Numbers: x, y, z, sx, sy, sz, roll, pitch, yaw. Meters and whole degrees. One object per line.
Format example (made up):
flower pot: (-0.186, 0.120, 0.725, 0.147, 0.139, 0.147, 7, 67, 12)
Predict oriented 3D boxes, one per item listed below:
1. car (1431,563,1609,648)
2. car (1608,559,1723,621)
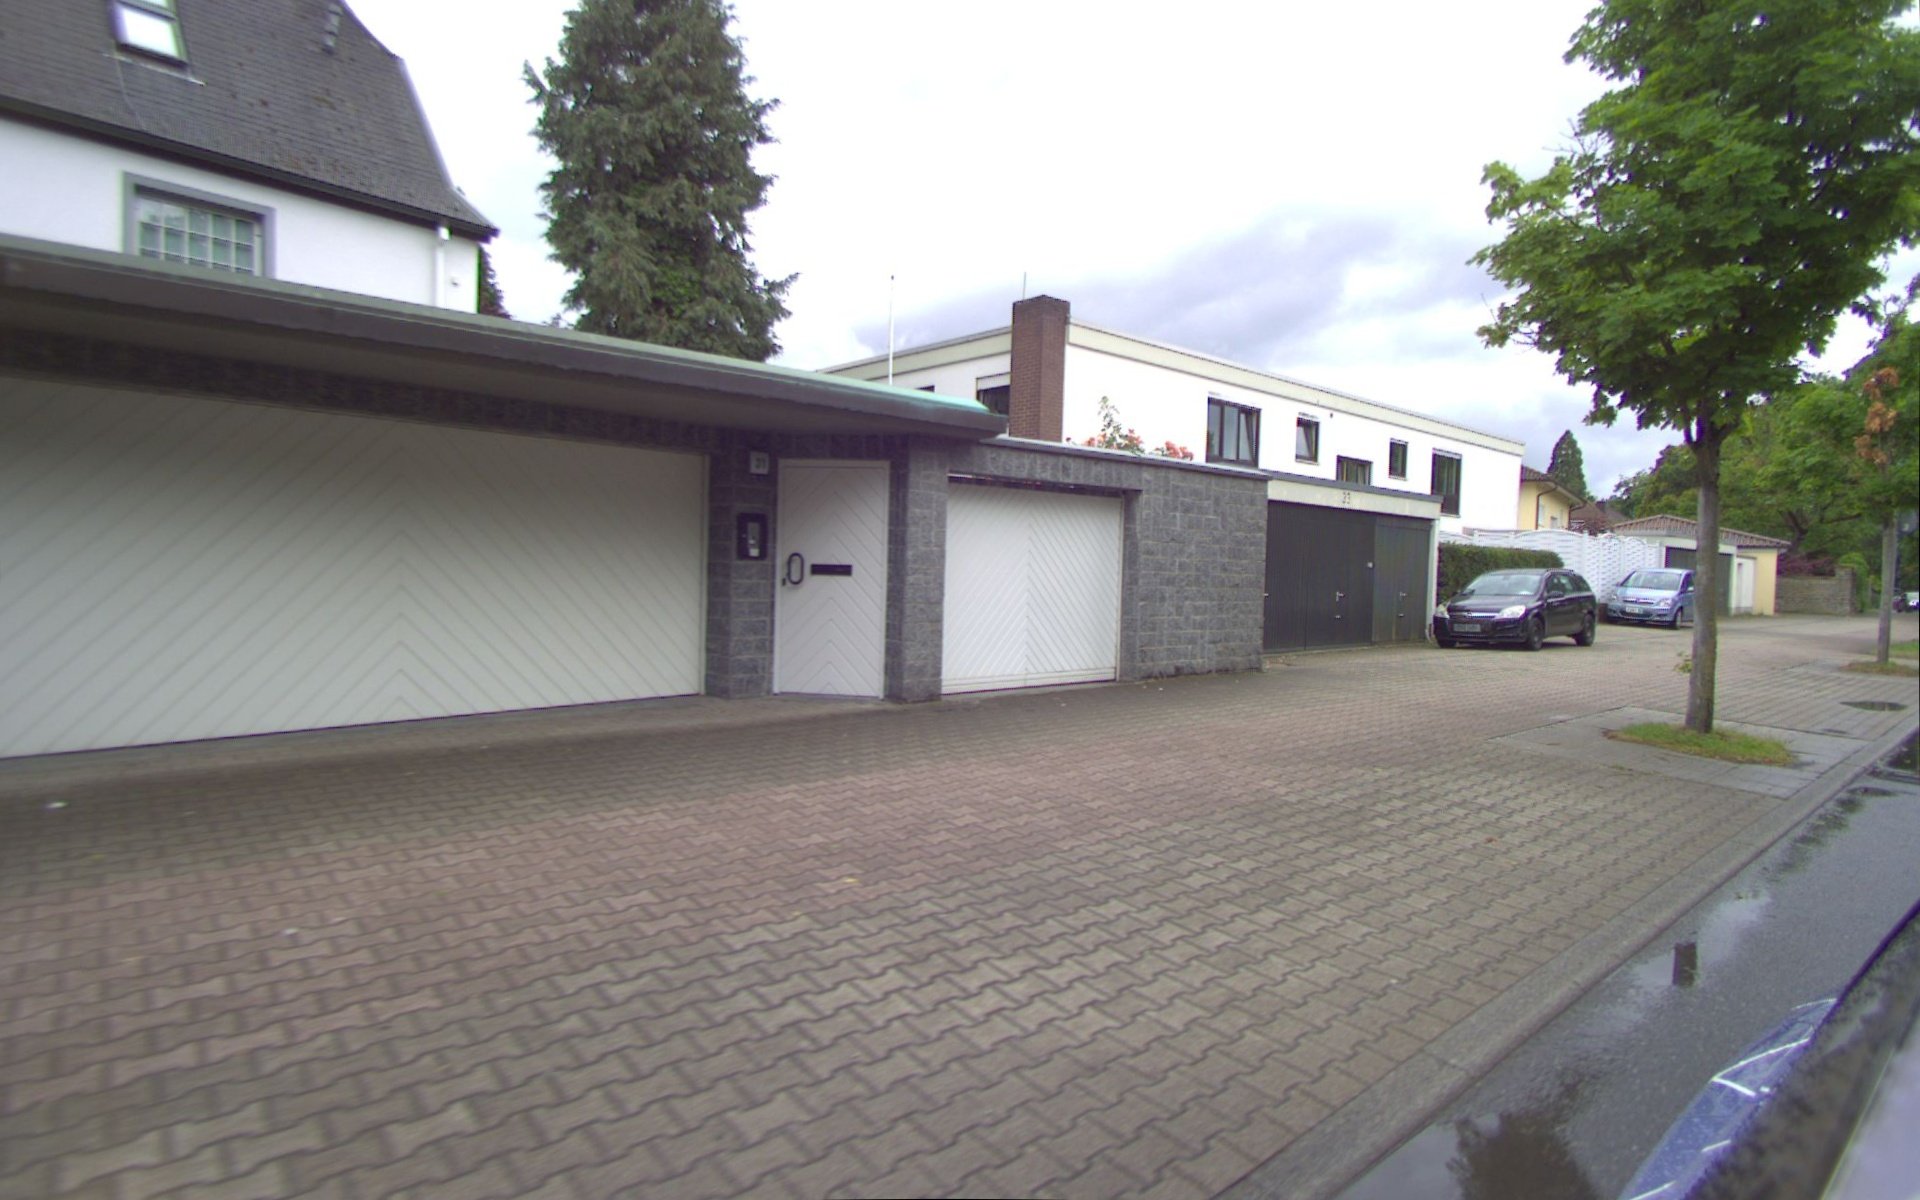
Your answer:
car: (10.563, 0.048, 18.985, 3.930, 1.440, 1.665, -1, 1, -41)
car: (19.479, -0.310, 27.883, 3.930, 1.581, 1.698, -2, 2, -41)
